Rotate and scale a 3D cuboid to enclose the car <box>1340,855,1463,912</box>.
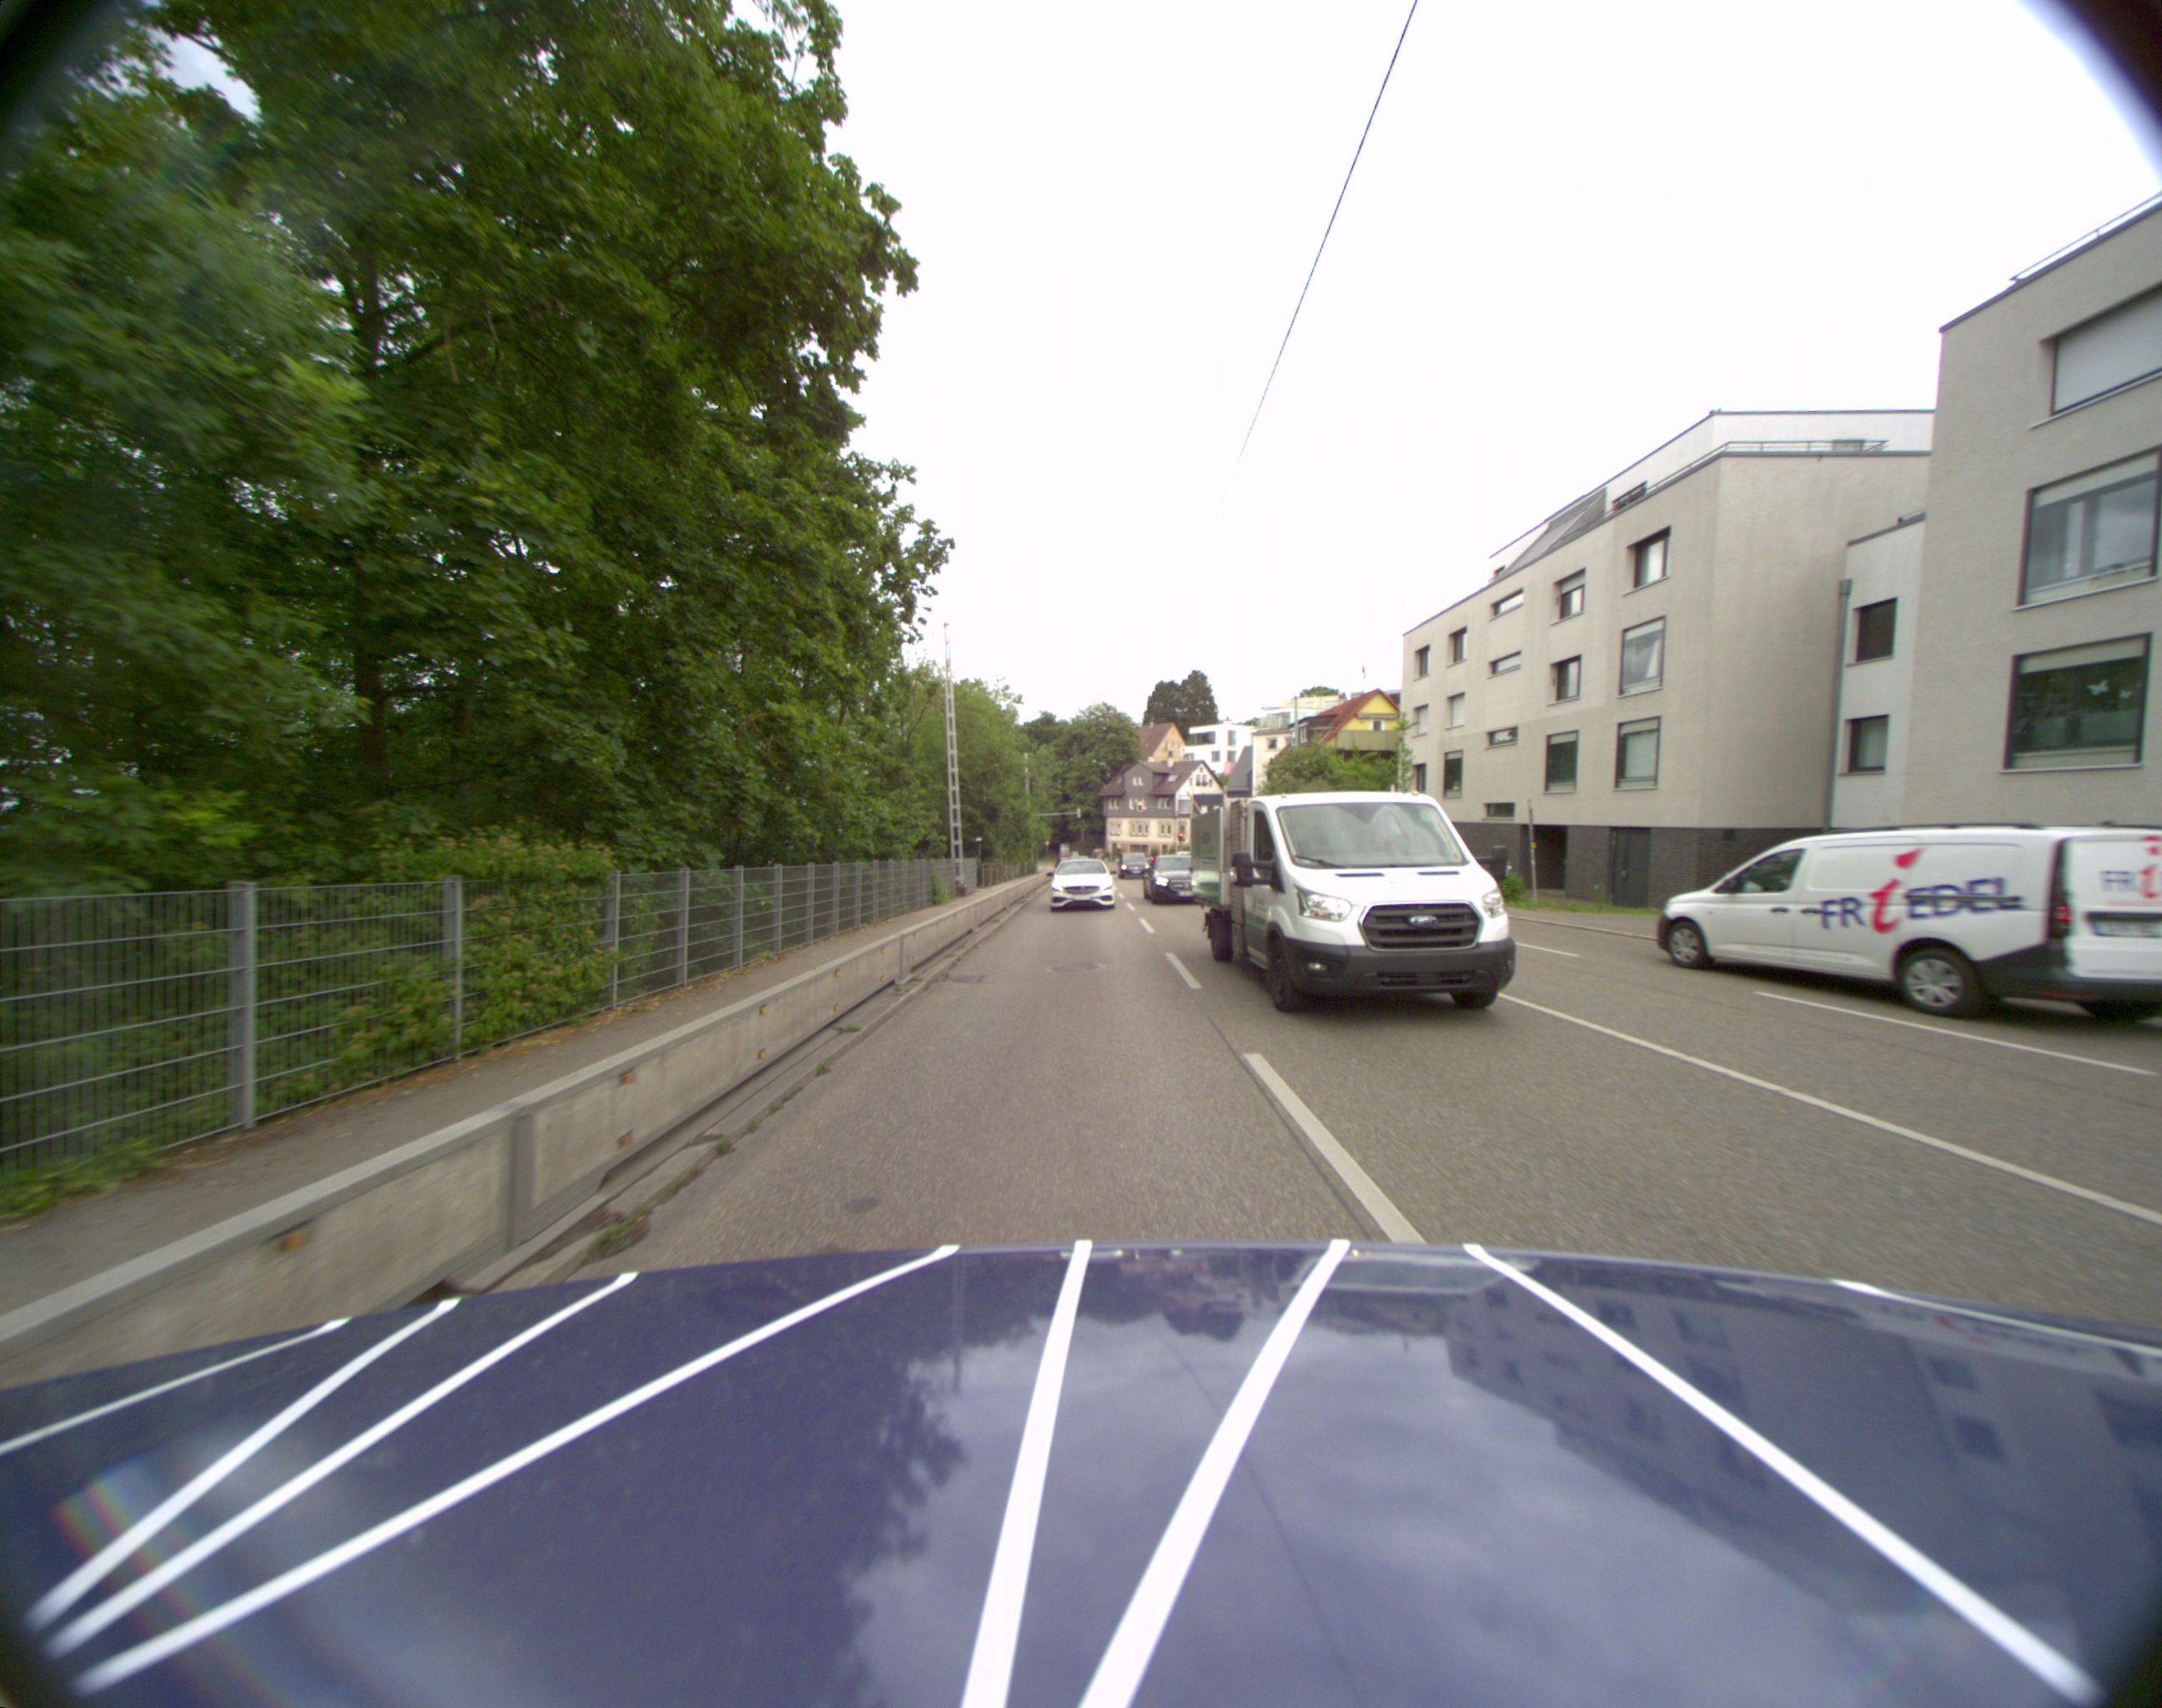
[{"bbox_3d":[9.169,0.780,22.153,1.737,1.455,4.423,1,0,1],"label":"car"}]

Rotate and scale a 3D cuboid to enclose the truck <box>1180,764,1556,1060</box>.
[{"bbox_3d":[2.692,0.451,9.181,2.080,2.307,6.331,-1,0,0],"label":"truck"}]

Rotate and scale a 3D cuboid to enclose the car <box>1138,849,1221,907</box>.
[{"bbox_3d":[2.963,0.669,23.767,1.916,1.472,4.399,-3,1,0],"label":"car"}]

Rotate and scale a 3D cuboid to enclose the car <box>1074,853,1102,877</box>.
[{"bbox_3d":[0.457,0.713,50.324,1.777,1.532,4.000,0,0,1],"label":"car"}]

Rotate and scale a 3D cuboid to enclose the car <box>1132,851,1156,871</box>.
[{"bbox_3d":[5.744,0.580,69.785,1.900,1.685,4.347,-2,0,1],"label":"car"}]

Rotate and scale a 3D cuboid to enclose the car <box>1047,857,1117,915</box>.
[{"bbox_3d":[0.054,0.858,22.231,1.817,1.391,3.999,-3,1,1],"label":"car"}]

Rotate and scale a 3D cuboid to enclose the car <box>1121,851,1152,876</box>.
[{"bbox_3d":[3.437,0.582,47.700,1.693,1.499,4.000,0,0,1],"label":"car"}]

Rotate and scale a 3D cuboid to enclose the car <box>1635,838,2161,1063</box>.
[{"bbox_3d":[8.809,0.768,8.453,1.737,1.778,4.867,1,0,1],"label":"car"}]
